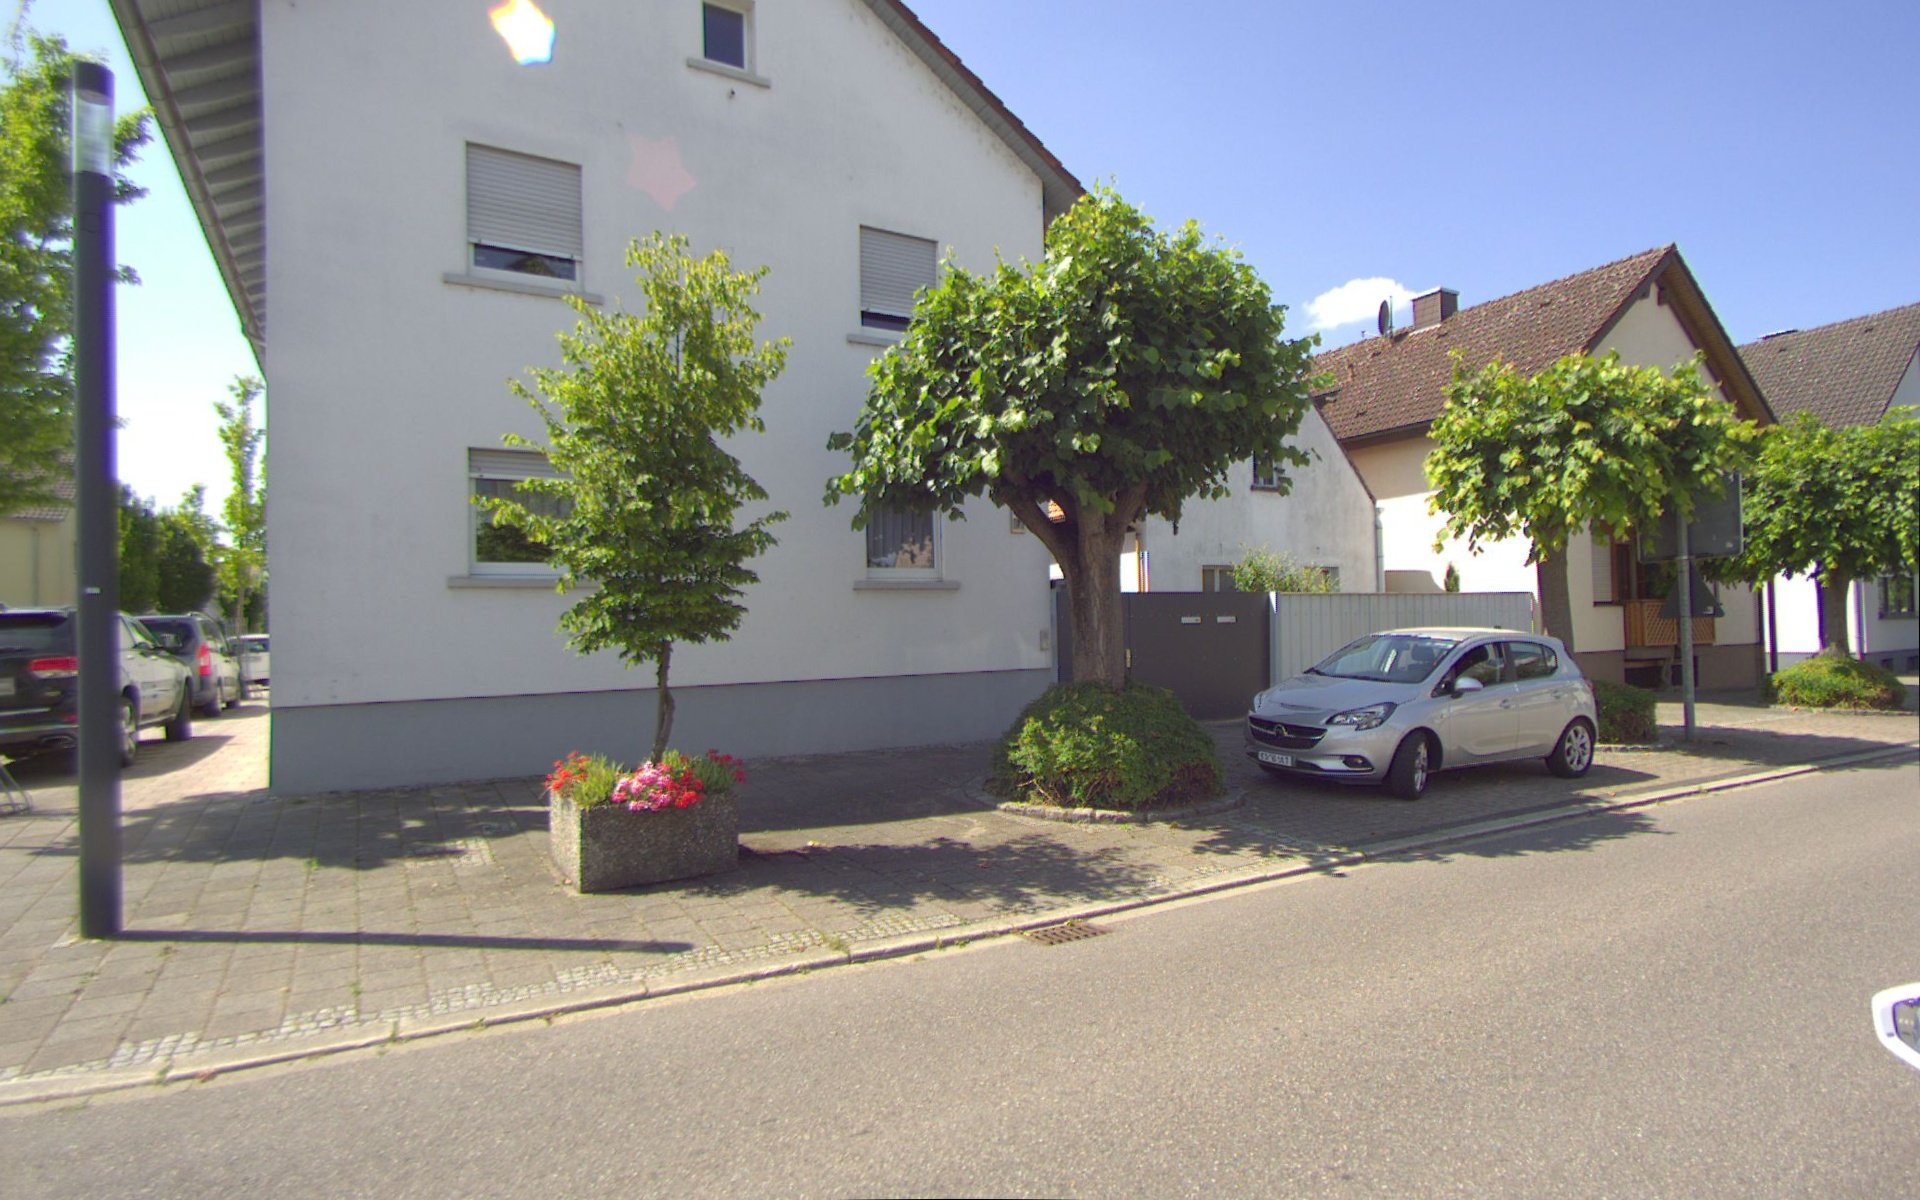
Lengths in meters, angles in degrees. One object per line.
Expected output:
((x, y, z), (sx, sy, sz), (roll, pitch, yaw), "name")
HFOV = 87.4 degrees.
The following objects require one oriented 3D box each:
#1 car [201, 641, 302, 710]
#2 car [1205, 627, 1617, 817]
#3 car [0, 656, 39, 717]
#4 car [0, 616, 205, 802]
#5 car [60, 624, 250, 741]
((-20.983, 2.169, 29.919), (1.976, 1.763, 4.404), (-2, -1, -30), "car")
((4.633, 1.068, 10.198), (4.084, 1.502, 1.816), (0, 0, -31), "car")
((-24.798, 2.140, 24.973), (1.846, 1.481, 4.404), (2, -4, -31), "car")
((-10.284, 1.128, 11.536), (1.976, 1.738, 4.404), (-2, -1, -30), "car")
((-14.497, 1.388, 18.379), (1.976, 1.763, 4.404), (-2, -1, -30), "car")
